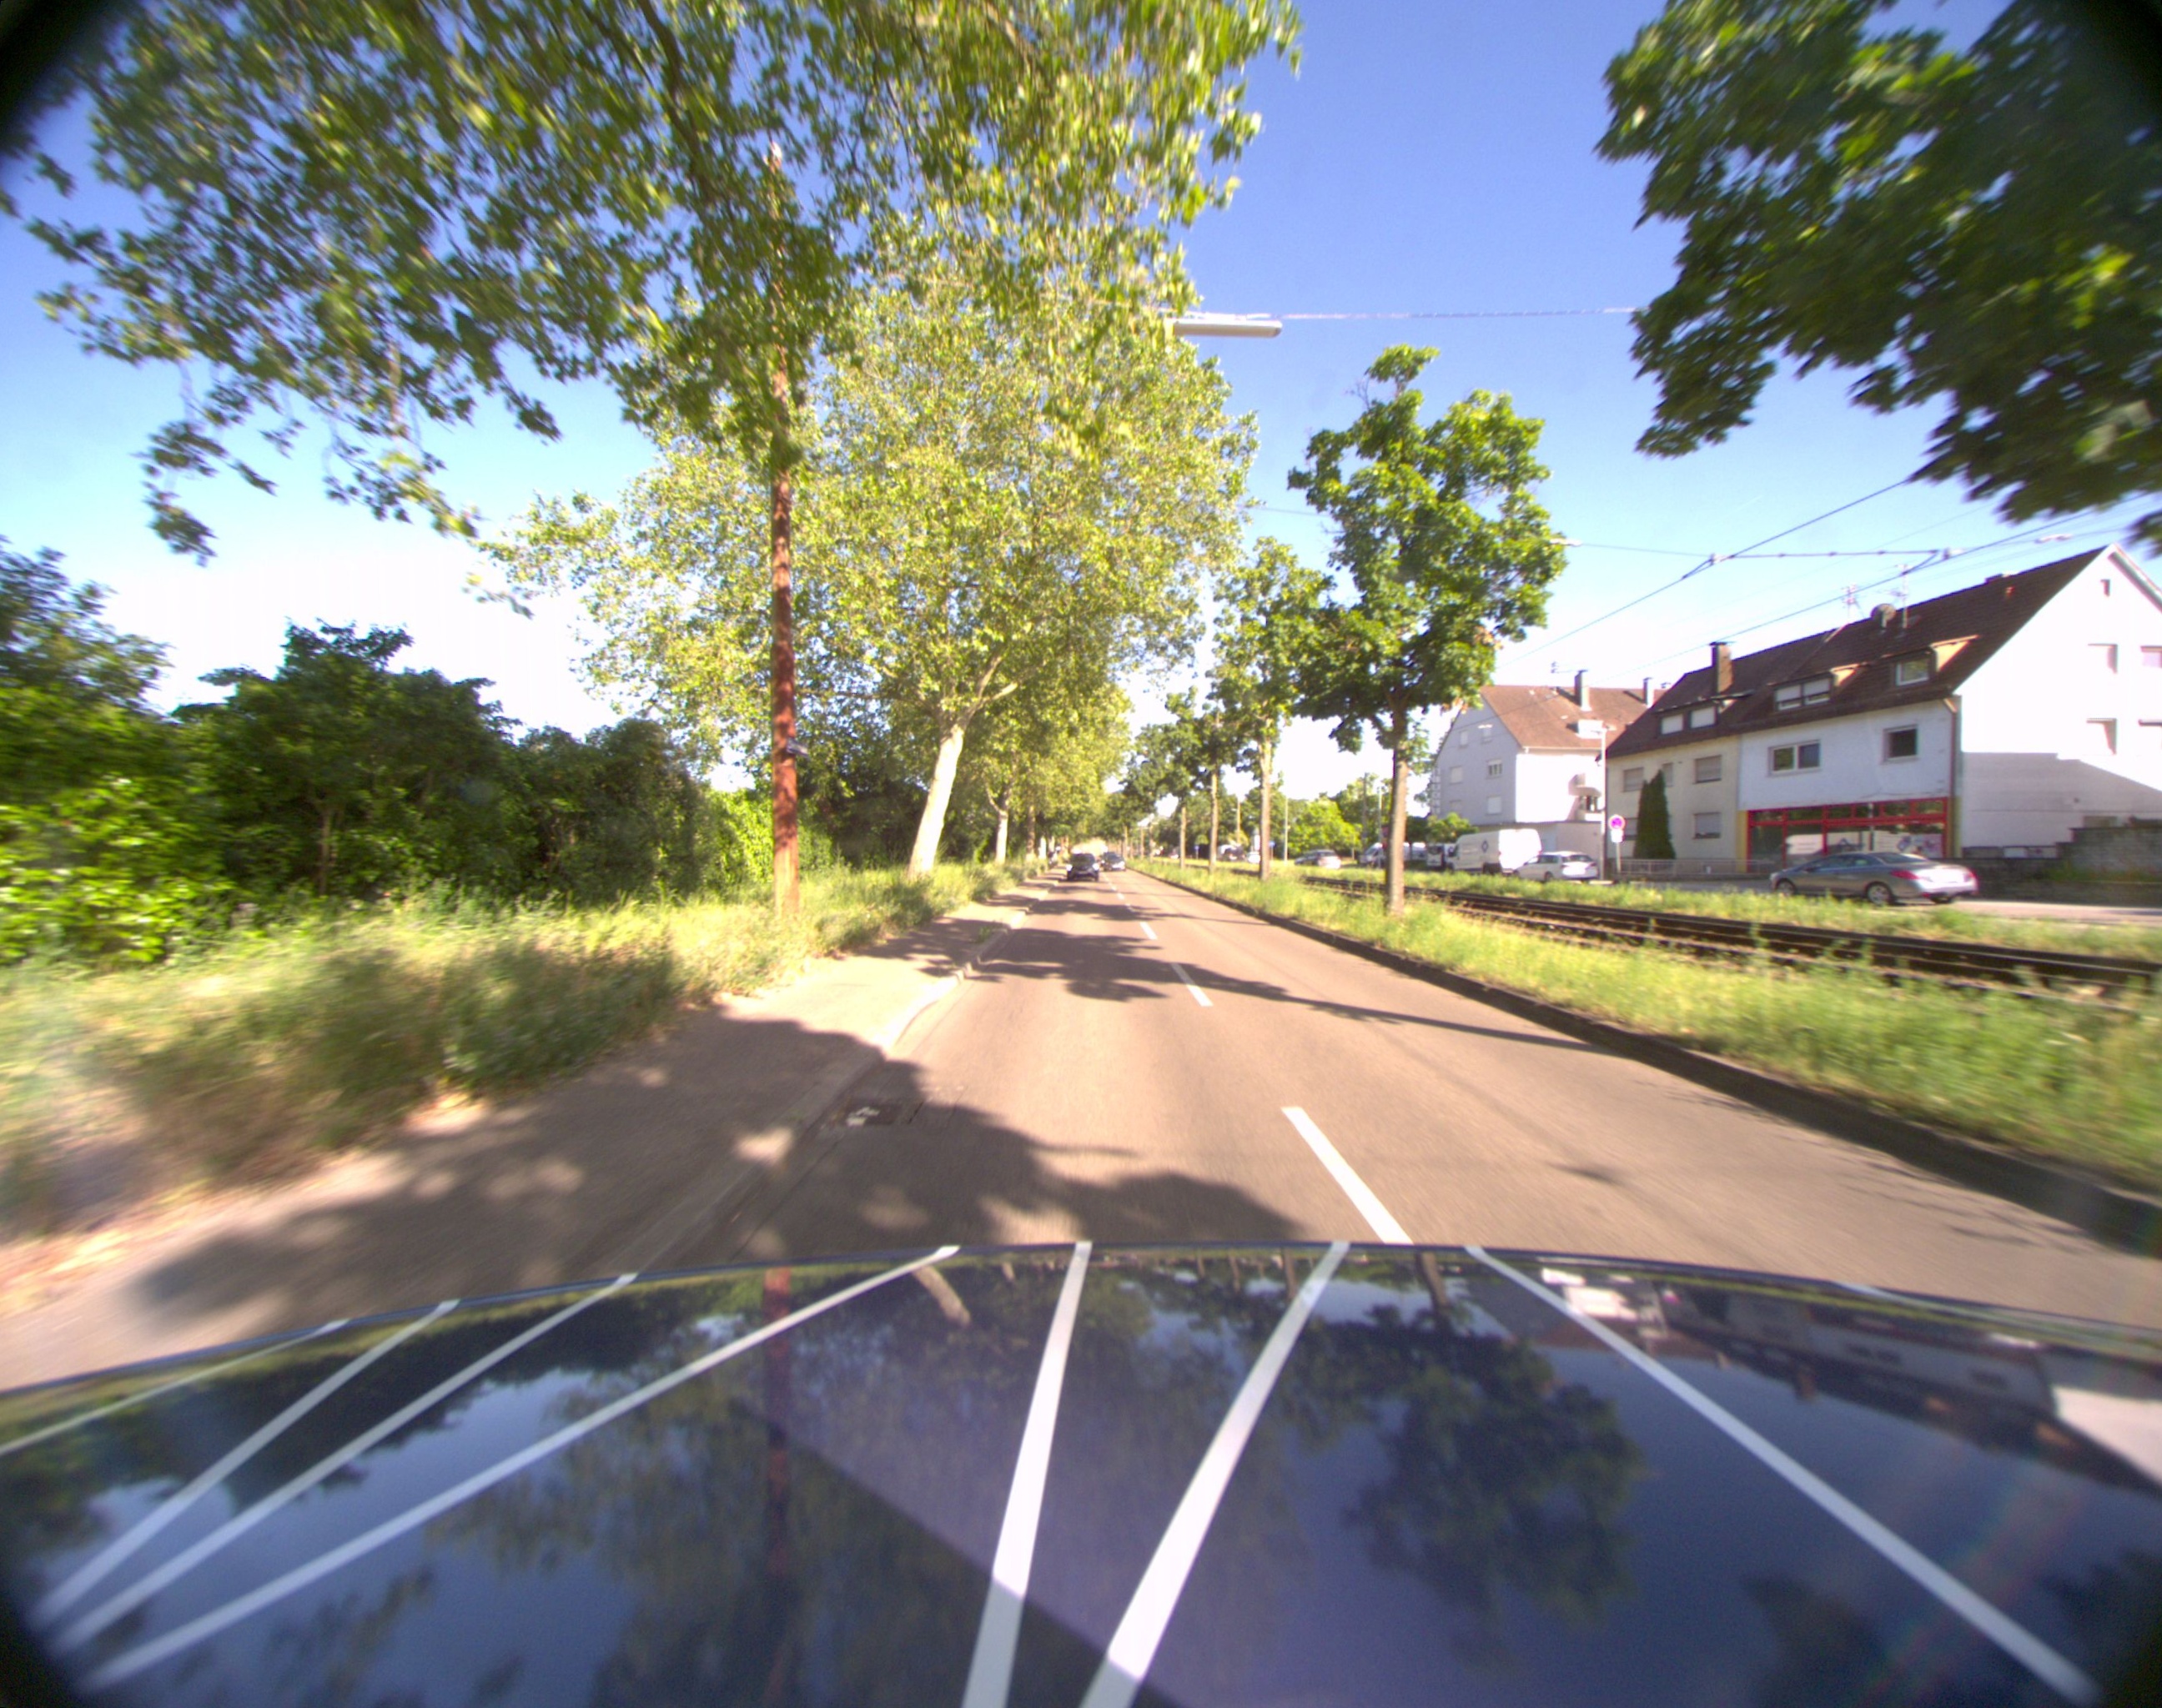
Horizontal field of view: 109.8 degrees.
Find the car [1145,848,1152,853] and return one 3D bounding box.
[{"bbox_3d":[19.893,-1.009,224.078,1.998,1.522,3.751,-1,1,2],"label":"car"}]

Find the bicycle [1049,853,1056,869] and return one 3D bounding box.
[{"bbox_3d":[-2.091,0.508,55.809,0.441,1.146,1.823,-1,1,0],"label":"bicycle"}]

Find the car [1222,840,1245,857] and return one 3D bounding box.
[{"bbox_3d":[22.389,-0.867,111.868,2.188,2.363,6.463,-2,1,1],"label":"car"}]

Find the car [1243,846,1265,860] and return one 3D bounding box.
[{"bbox_3d":[22.504,-0.162,98.820,1.827,1.598,4.773,-2,1,1],"label":"car"}]

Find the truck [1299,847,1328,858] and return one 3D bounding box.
[{"bbox_3d":[43.752,-0.275,143.227,4.946,1.858,2.080,-2,1,-19],"label":"truck"}]

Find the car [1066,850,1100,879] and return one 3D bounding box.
[{"bbox_3d":[0.124,0.572,43.573,1.808,1.478,3.546,-2,1,0],"label":"car"}]

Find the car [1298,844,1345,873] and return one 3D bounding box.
[{"bbox_3d":[16.947,0.263,53.755,1.920,1.872,4.523,-2,1,2],"label":"car"}]

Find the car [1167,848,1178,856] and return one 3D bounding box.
[{"bbox_3d":[18.000,-0.390,150.126,1.680,1.401,4.000,-1,0,0],"label":"car"}]

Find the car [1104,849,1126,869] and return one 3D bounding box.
[{"bbox_3d":[2.763,0.402,62.246,1.714,1.478,3.546,-2,1,2],"label":"car"}]

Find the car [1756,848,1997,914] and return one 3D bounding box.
[{"bbox_3d":[21.639,0.661,21.017,1.998,1.572,4.498,-2,0,1],"label":"car"}]

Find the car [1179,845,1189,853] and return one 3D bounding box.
[{"bbox_3d":[23.015,-1.101,169.965,1.626,1.613,4.532,-2,1,0],"label":"car"}]

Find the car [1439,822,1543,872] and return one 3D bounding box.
[{"bbox_3d":[21.797,-0.410,40.792,1.998,2.445,6.673,-2,1,0],"label":"car"}]

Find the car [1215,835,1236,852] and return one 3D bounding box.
[{"bbox_3d":[22.808,-1.699,120.141,2.007,2.482,6.136,-2,1,0],"label":"car"}]

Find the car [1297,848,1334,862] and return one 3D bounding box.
[{"bbox_3d":[24.383,0.112,79.116,3.618,1.469,1.752,-1,1,18],"label":"car"}]

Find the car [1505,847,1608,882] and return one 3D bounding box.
[{"bbox_3d":[21.727,0.433,34.971,1.829,1.404,4.656,-2,1,0],"label":"car"}]

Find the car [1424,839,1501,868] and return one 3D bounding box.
[{"bbox_3d":[27.161,-0.081,54.133,4.633,1.934,1.998,-1,1,-10],"label":"car"}]

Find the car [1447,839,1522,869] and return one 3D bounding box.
[{"bbox_3d":[27.408,-0.030,51.657,4.151,1.941,1.998,-1,1,-10],"label":"car"}]

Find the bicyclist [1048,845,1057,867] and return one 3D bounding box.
[{"bbox_3d":[-2.097,0.119,55.794,0.615,1.619,0.909,-1,1,1],"label":"bicyclist"}]

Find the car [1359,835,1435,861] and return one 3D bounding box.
[{"bbox_3d":[33.416,-0.620,80.461,7.086,2.493,2.329,-2,1,-4],"label":"car"}]

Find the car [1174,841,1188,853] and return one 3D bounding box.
[{"bbox_3d":[23.304,-1.647,177.507,2.231,2.565,6.798,-2,0,1],"label":"car"}]
